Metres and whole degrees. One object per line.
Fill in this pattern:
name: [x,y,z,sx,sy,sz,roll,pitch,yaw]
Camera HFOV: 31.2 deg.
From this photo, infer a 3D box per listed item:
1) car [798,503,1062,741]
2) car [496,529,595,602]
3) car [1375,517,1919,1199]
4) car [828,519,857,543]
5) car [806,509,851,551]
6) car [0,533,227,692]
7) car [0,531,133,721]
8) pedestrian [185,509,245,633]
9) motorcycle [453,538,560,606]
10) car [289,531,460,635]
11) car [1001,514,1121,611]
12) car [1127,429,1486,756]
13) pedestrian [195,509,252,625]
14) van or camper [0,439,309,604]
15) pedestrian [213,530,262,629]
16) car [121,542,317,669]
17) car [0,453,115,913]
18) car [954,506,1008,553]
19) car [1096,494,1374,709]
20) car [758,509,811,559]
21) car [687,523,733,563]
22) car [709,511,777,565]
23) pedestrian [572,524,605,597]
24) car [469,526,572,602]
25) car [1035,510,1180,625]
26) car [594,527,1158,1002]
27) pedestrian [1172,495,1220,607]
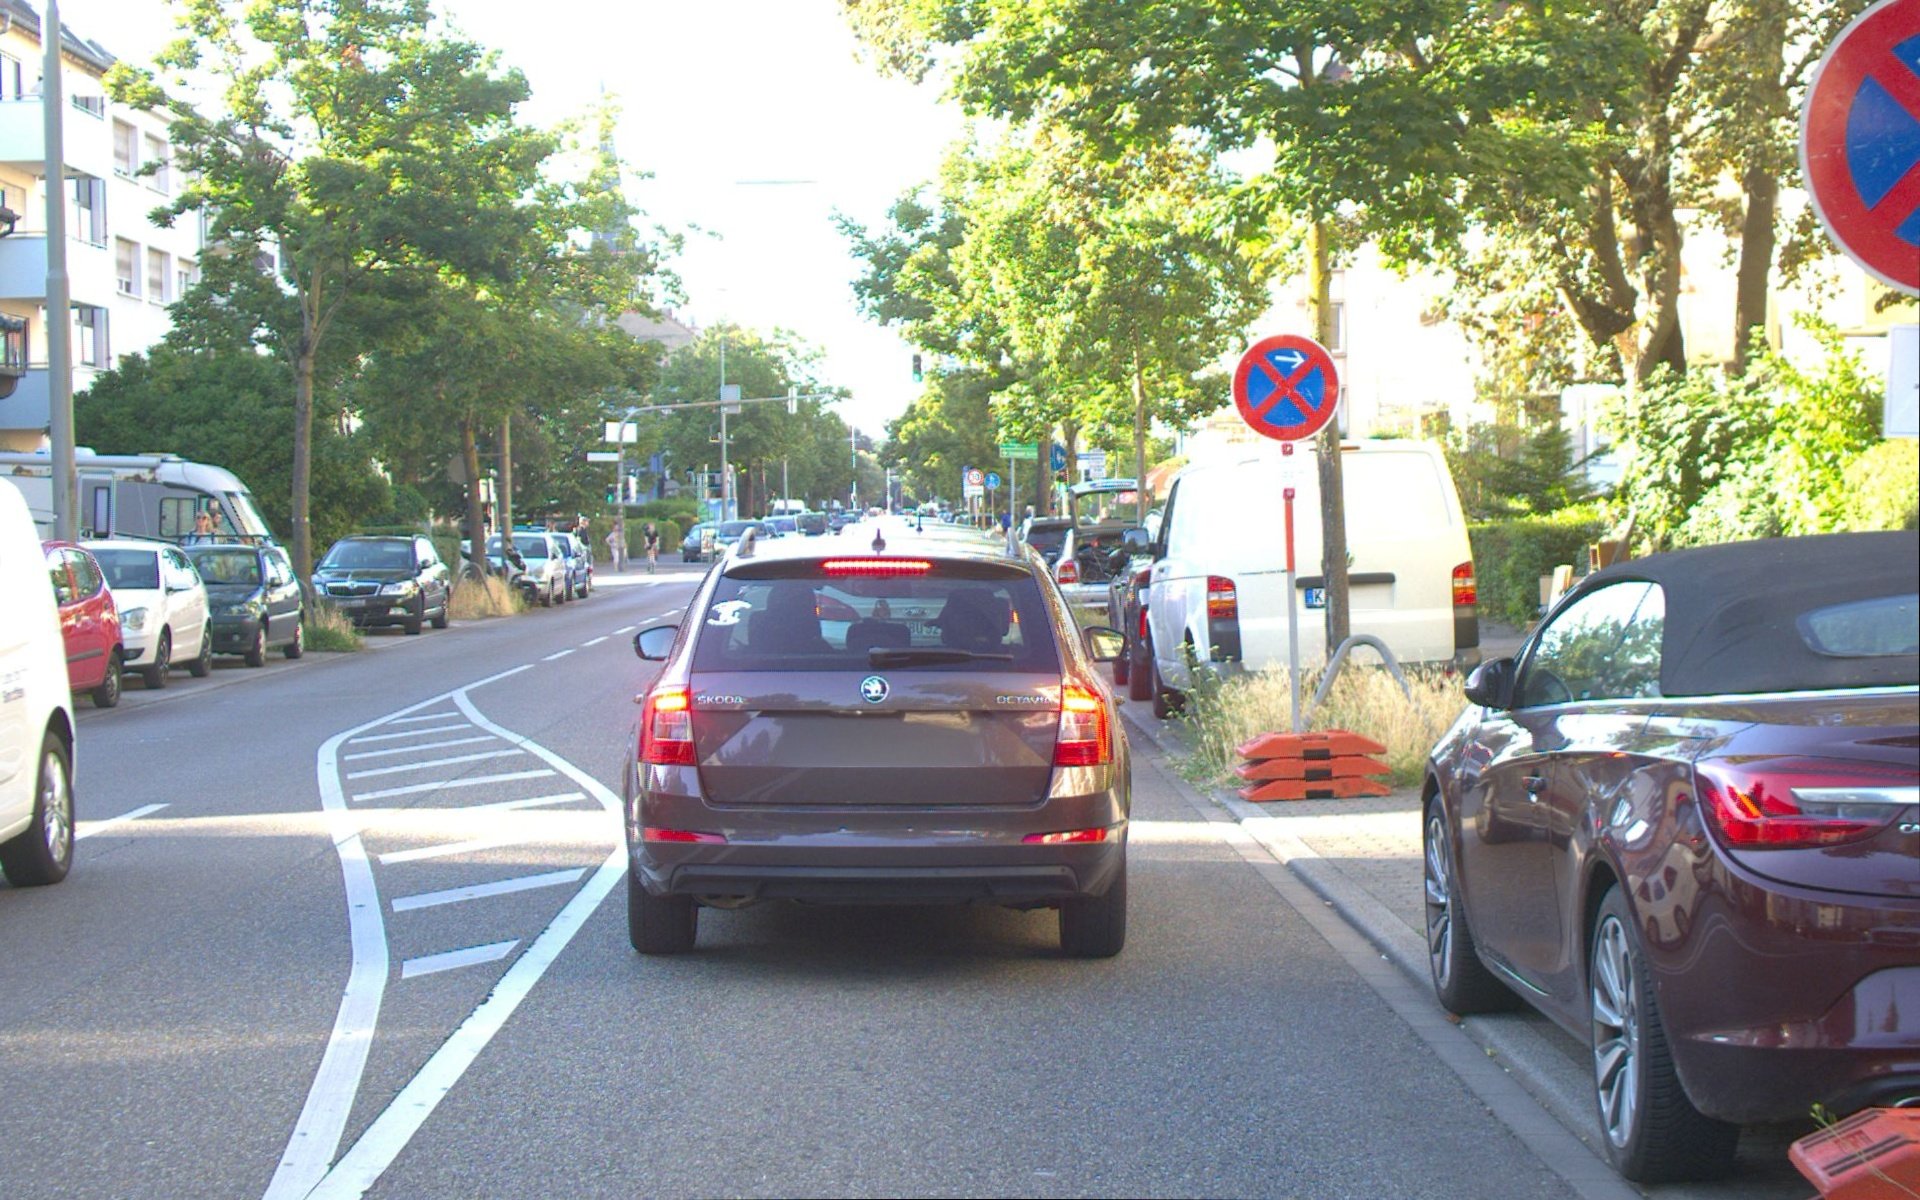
car: [-0.231,0.103,25.036,1.736,1.565,4.000,1,1,-1]
car: [-8.870,-0.762,73.798,1.648,1.512,4.074,0,1,-1]
car: [2.325,0.533,9.018,1.757,1.415,4.615,-3,1,-1]
car: [-7.934,-4.657,232.231,1.830,1.574,4.000,-1,1,0]
car: [-6.326,-3.400,166.095,1.993,1.902,4.964,-3,1,-1]
car: [-8.769,0.085,35.682,1.593,1.518,3.891,-1,1,-2]
car: [-8.378,0.184,29.521,1.593,1.518,3.436,-1,1,2]
pedestrian: [-10.892,-0.432,50.291,0.713,1.786,0.506,-1,1,2]
motorcycle: [-8.643,-0.533,65.462,2.052,1.260,0.765,0,2,38]
car: [-8.858,-0.292,52.357,1.867,1.489,4.518,1,1,0]
car: [1.749,-0.690,60.792,1.855,1.576,4.014,-3,1,-1]
car: [2.372,-0.101,24.687,1.903,2.096,4.641,-1,1,-2]
pedestrian: [-11.497,-0.525,53.659,0.713,1.786,0.572,-1,1,2]
van or camper: [-15.273,-1.426,61.509,6.797,2.763,2.352,1,1,-1]
pedestrian: [-11.108,-0.317,52.870,0.590,1.490,0.542,-1,1,2]
car: [-8.666,0.032,40.453,1.543,1.391,3.666,-1,1,-1]
car: [-4.713,0.366,13.276,1.888,1.797,4.432,-3,1,-2]
car: [0.857,-2.792,135.830,1.994,1.766,4.000,1,1,2]
car: [2.264,-0.041,29.382,1.855,1.598,4.312,-3,1,-1]
car: [-6.738,-2.551,132.148,1.805,1.798,4.746,-3,1,-1]
car: [-9.546,-2.193,131.534,1.522,1.452,3.585,-1,1,-1]
car: [-6.641,-1.898,105.651,1.835,1.565,4.000,-3,1,-1]
pedestrian: [-10.244,-1.084,94.748,0.780,1.981,0.821,-1,1,0]
car: [-8.814,-0.745,69.167,1.593,1.465,3.804,1,1,-1]
car: [2.035,-0.486,48.388,1.708,1.475,4.269,-3,1,-1]
car: [-0.309,0.474,12.993,1.773,1.484,4.311,0,1,-1]
pedestrian: [3.771,-0.789,54.958,0.662,1.743,0.772,-2,1,1]
